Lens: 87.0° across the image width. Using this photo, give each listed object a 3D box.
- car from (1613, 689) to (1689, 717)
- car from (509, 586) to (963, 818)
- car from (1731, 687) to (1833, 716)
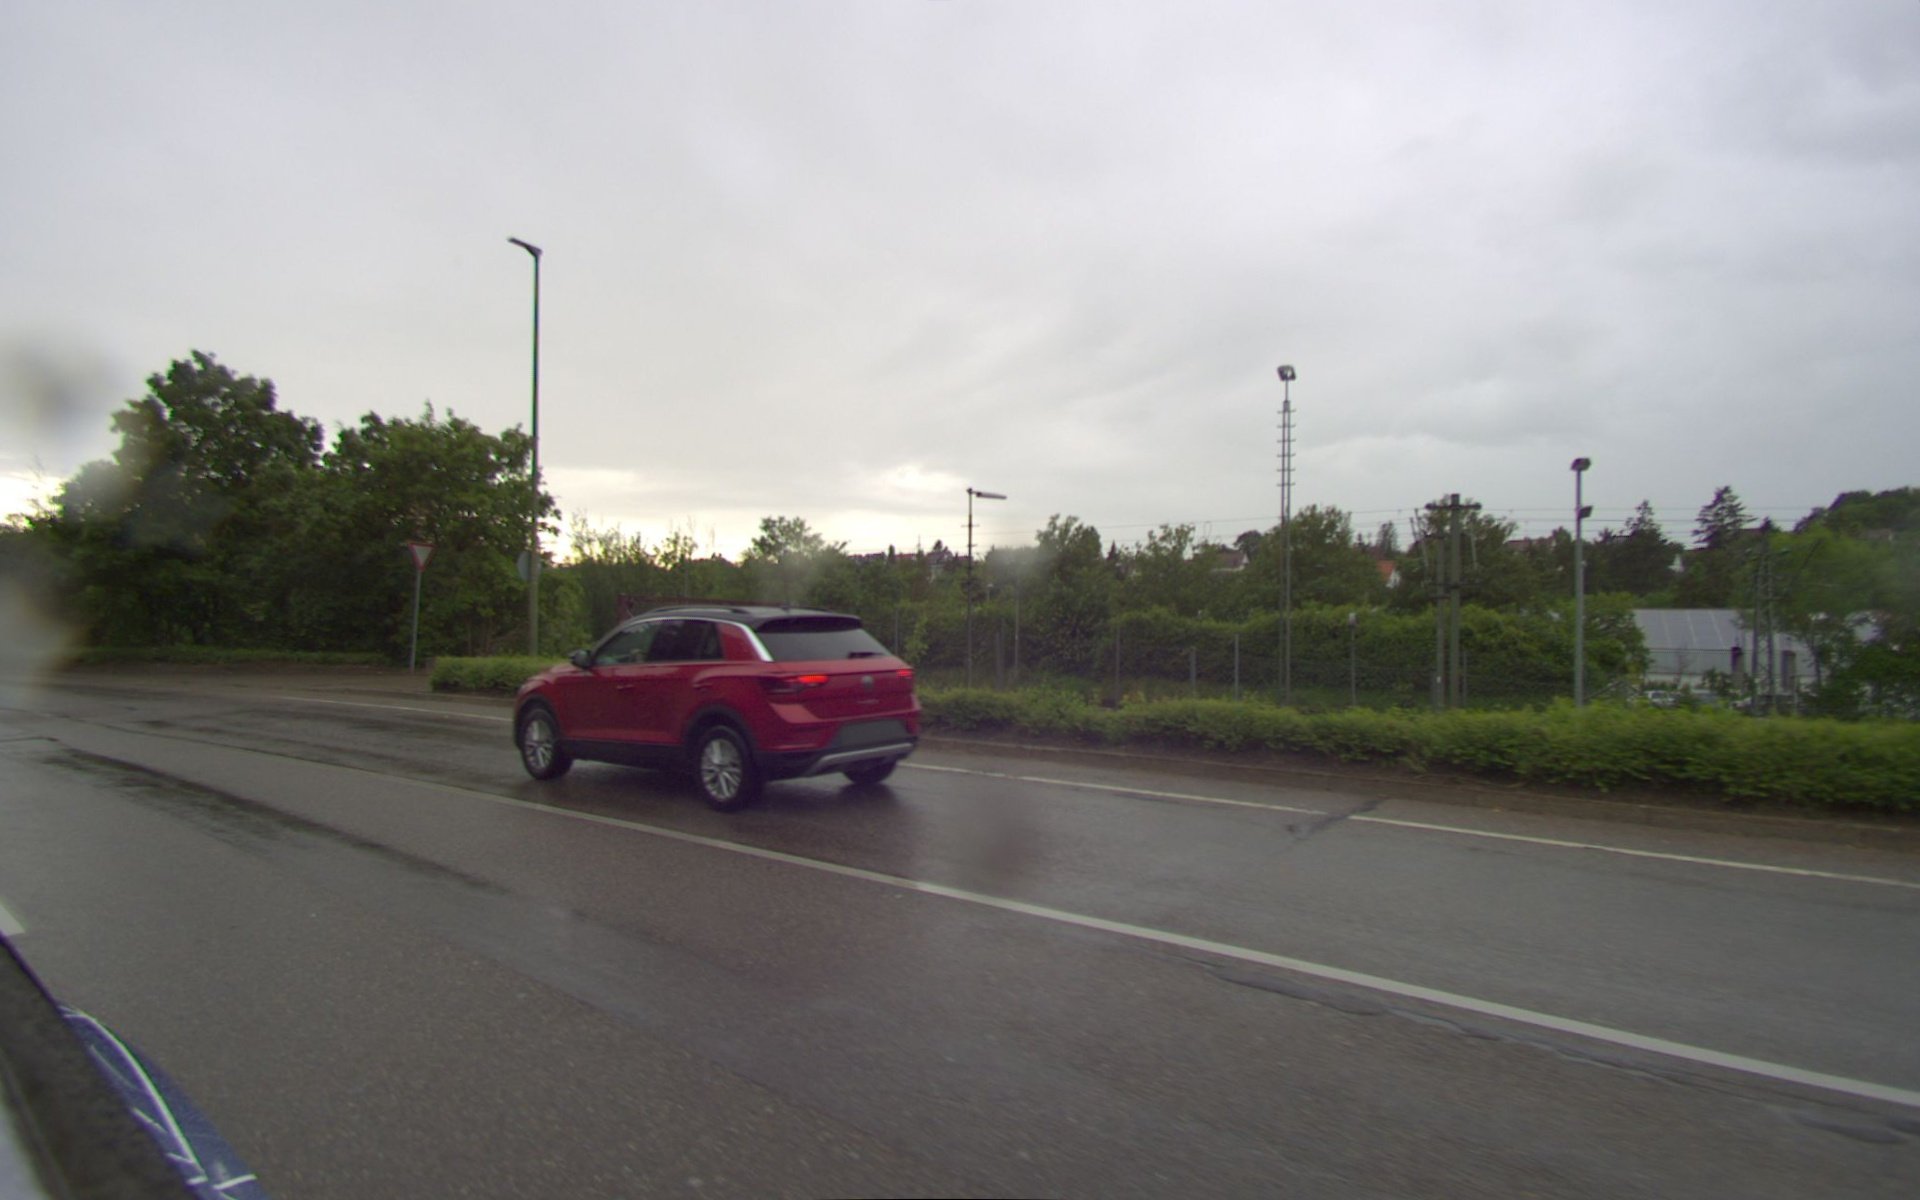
[{"bbox_3d":[40.035,5.941,58.698,3.564,1.420,1.780,-1,-4,33],"label":"car"},{"bbox_3d":[-2.074,0.769,8.731,3.996,1.547,1.736,-3,-3,40],"label":"car"},{"bbox_3d":[45.322,5.591,55.892,3.978,1.420,1.784,0,-4,26],"label":"car"}]
